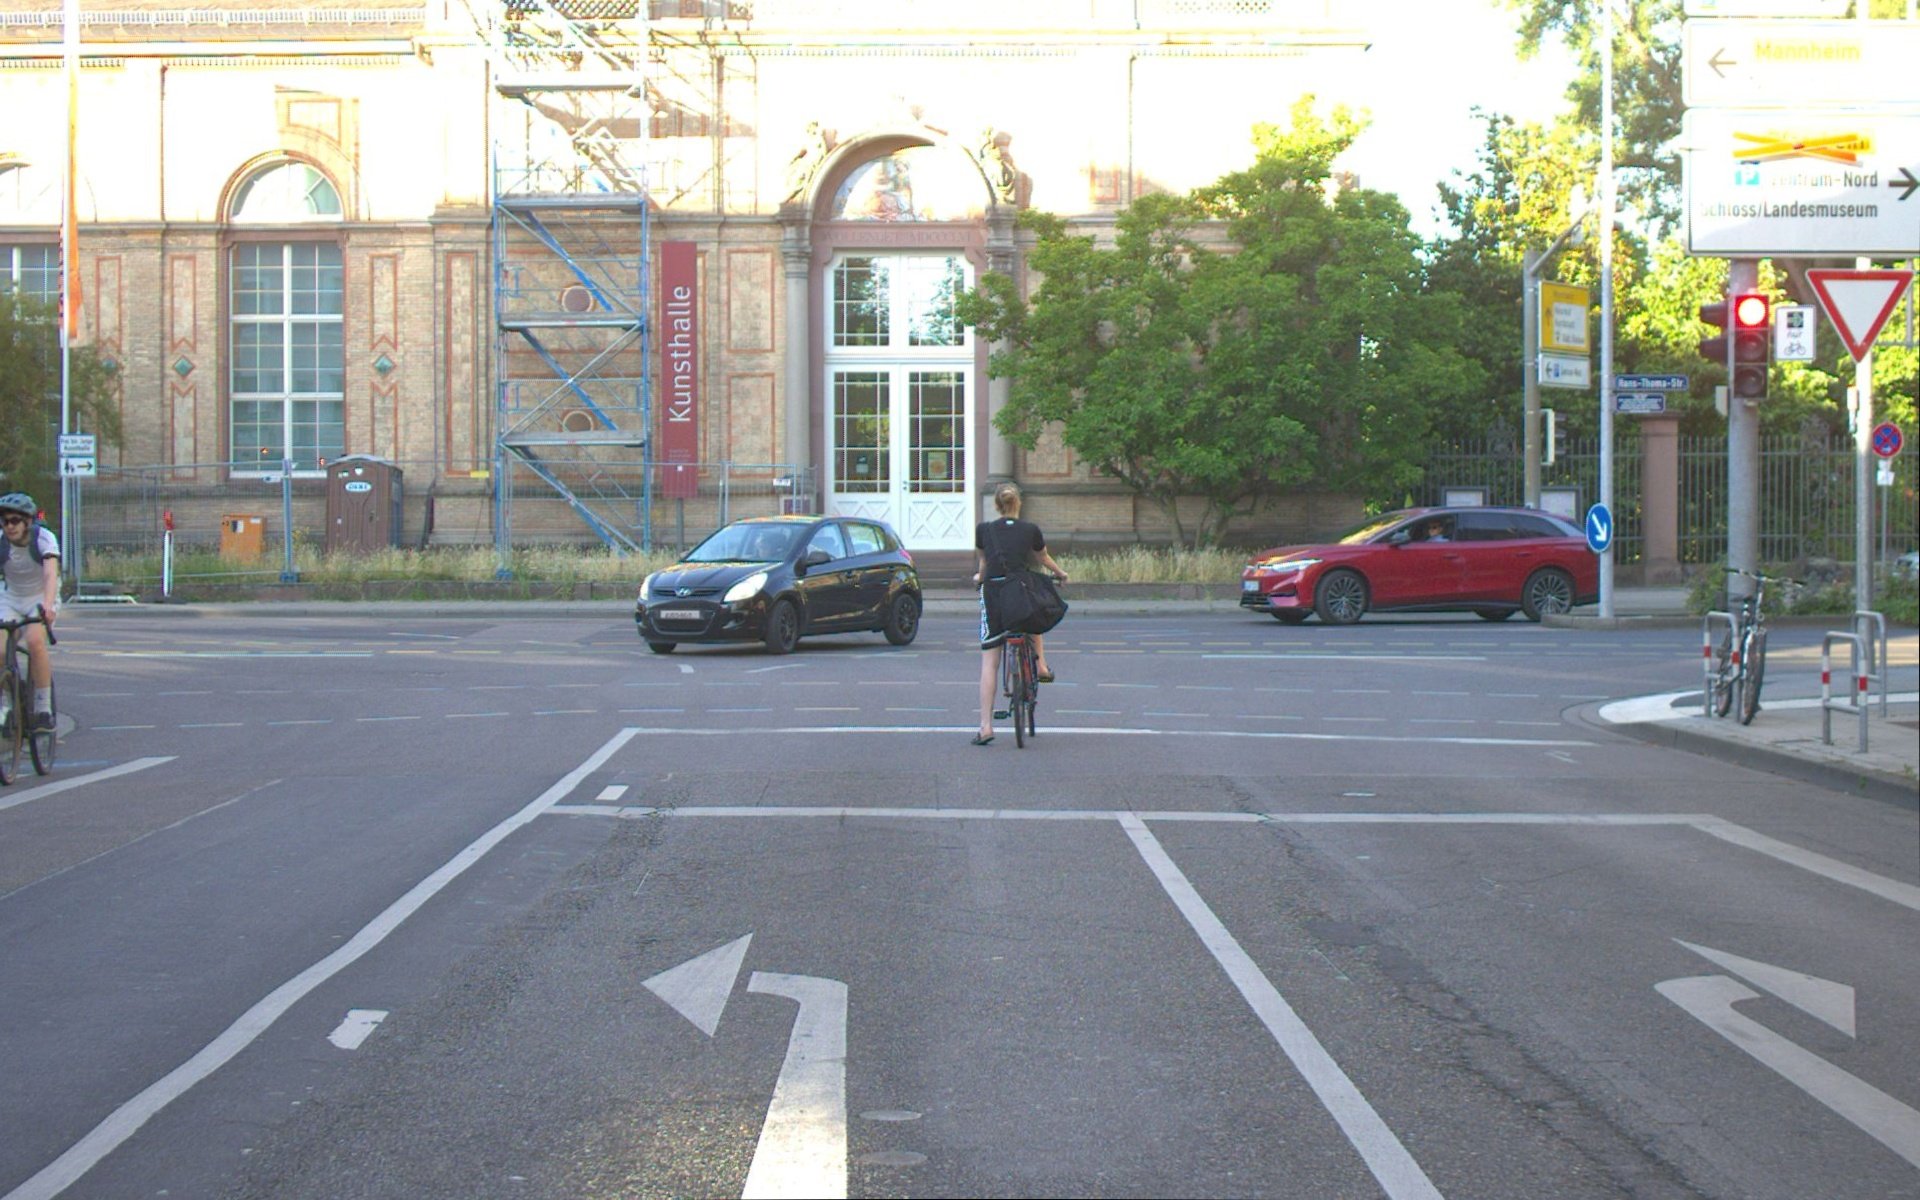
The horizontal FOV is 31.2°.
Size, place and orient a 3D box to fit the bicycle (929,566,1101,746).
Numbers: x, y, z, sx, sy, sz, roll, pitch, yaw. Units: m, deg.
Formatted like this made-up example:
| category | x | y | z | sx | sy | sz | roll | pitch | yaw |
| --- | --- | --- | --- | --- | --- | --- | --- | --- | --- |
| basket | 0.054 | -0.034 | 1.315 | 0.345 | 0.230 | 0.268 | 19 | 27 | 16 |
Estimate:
| category | x | y | z | sx | sy | sz | roll | pitch | yaw |
| --- | --- | --- | --- | --- | --- | --- | --- | --- | --- |
| bicycle | 0.394 | 0.358 | 23.099 | 0.712 | 1.152 | 2.067 | 0 | 0 | 14 |

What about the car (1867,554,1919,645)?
| category | x | y | z | sx | sy | sz | roll | pitch | yaw |
| --- | --- | --- | --- | --- | --- | --- | --- | --- | --- |
| car | 17.195 | -0.022 | 56.283 | 4.184 | 1.440 | 1.715 | 0 | 2 | -5 |

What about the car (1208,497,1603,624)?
| category | x | y | z | sx | sy | sz | roll | pitch | yaw |
| --- | --- | --- | --- | --- | --- | --- | --- | --- | --- |
| car | 5.874 | -0.547 | 45.360 | 4.830 | 1.540 | 1.837 | -1 | 2 | -17 |

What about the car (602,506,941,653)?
| category | x | y | z | sx | sy | sz | roll | pitch | yaw |
| --- | --- | --- | --- | --- | --- | --- | --- | --- | --- |
| car | -2.025 | -0.269 | 37.846 | 1.661 | 1.466 | 3.846 | 1 | 3 | 36 |

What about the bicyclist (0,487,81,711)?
| category | x | y | z | sx | sy | sz | roll | pitch | yaw |
| --- | --- | --- | --- | --- | --- | --- | --- | --- | --- |
| bicyclist | -5.895 | -0.007 | 21.381 | 0.625 | 1.360 | 0.929 | 0 | 0 | -1 |

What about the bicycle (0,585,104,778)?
| category | x | y | z | sx | sy | sz | roll | pitch | yaw |
| --- | --- | --- | --- | --- | --- | --- | --- | --- | --- |
| bicycle | -5.901 | 0.485 | 21.457 | 0.625 | 1.152 | 2.052 | 0 | 0 | -1 |

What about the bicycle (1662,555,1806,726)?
| category | x | y | z | sx | sy | sz | roll | pitch | yaw |
| --- | --- | --- | --- | --- | --- | --- | --- | --- | --- |
| bicycle | 5.548 | 0.280 | 24.729 | 0.582 | 1.184 | 1.920 | 0 | 0 | -1 |

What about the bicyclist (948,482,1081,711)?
| category | x | y | z | sx | sy | sz | roll | pitch | yaw |
| --- | --- | --- | --- | --- | --- | --- | --- | --- | --- |
| bicyclist | 0.370 | -0.024 | 22.982 | 0.716 | 1.497 | 0.850 | 0 | 0 | 14 |
